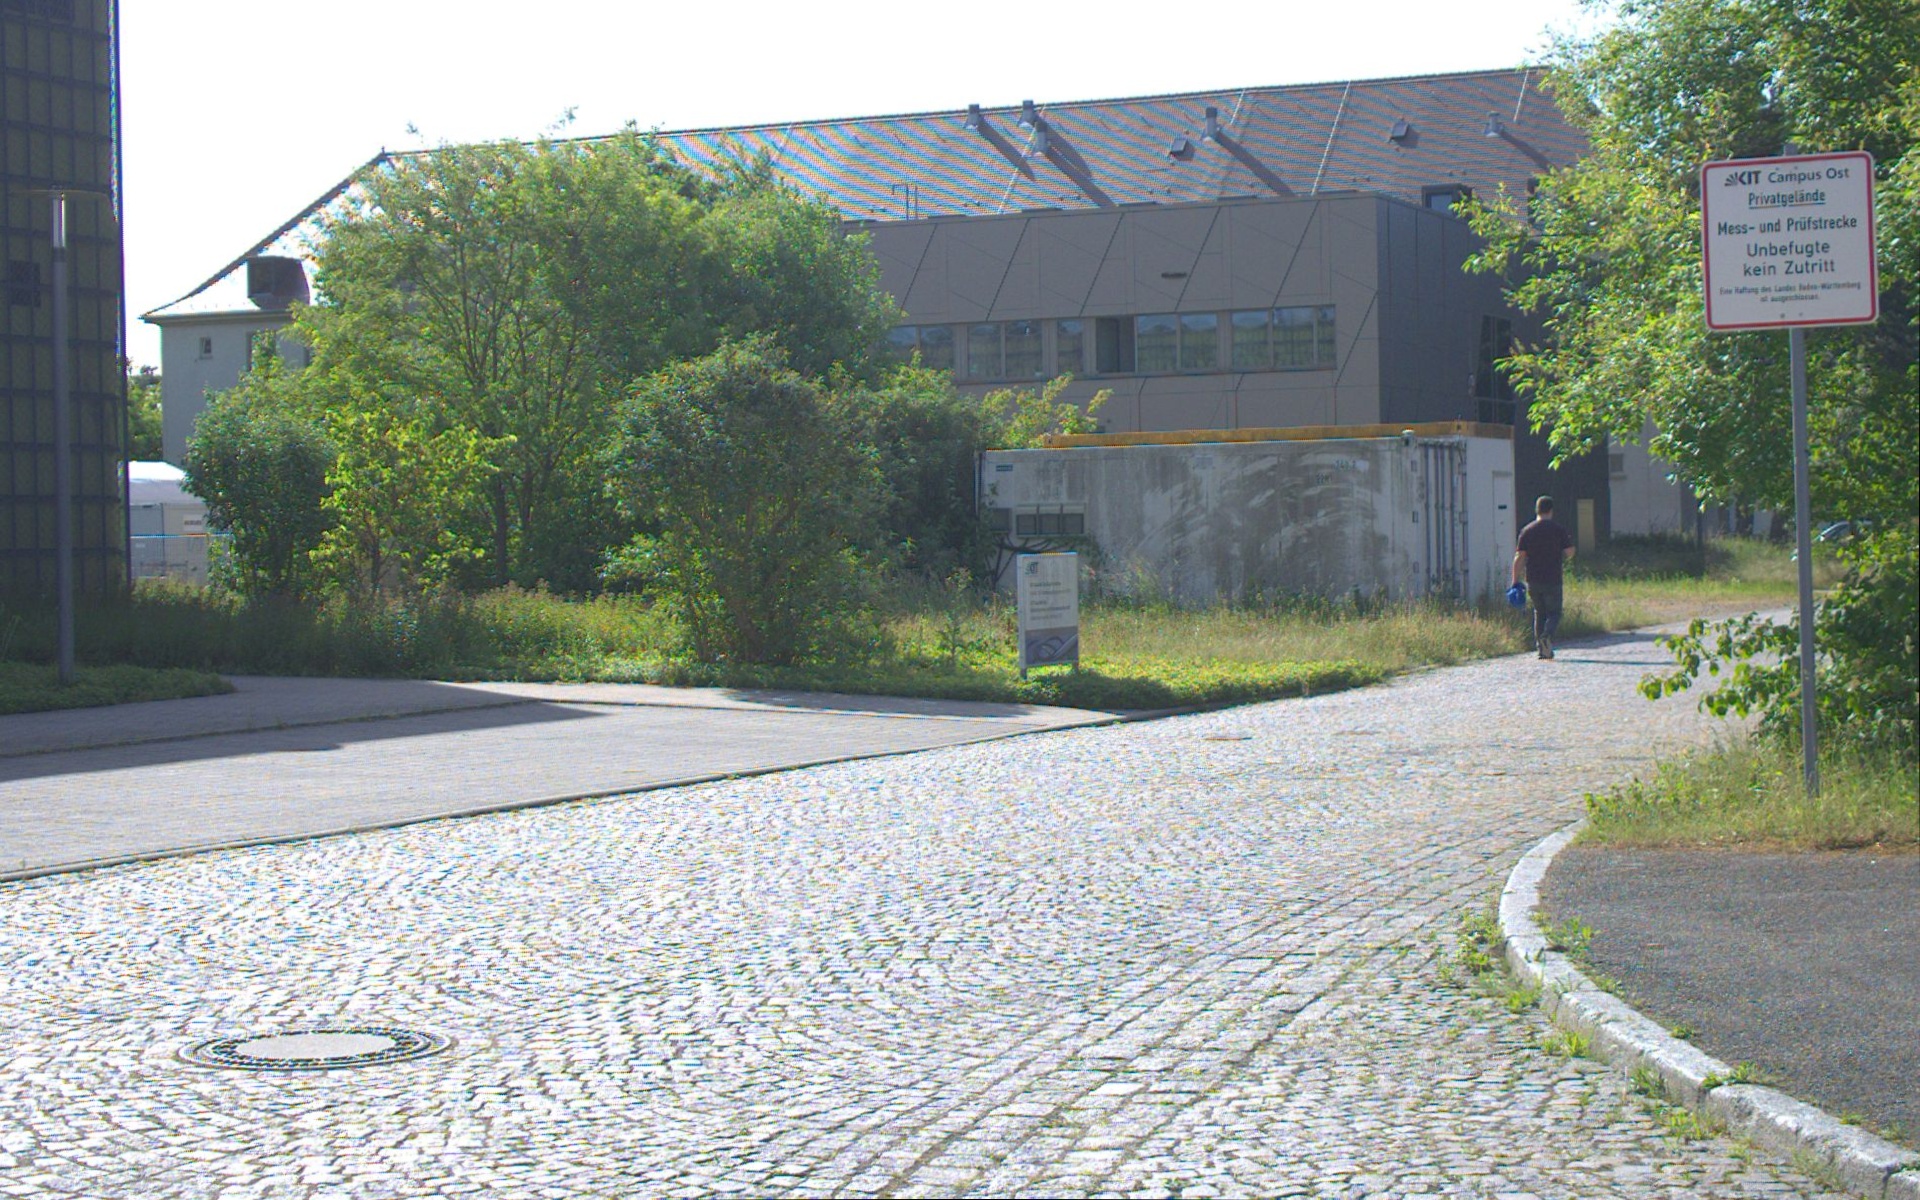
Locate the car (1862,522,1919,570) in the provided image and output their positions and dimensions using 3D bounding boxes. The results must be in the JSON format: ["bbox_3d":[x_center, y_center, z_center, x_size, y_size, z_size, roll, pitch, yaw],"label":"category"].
[{"bbox_3d":[25.561,-1.450,91.604,2.904,1.255,1.287,-1,1,15],"label":"car"}]

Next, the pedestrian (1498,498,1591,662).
[{"bbox_3d":[6.457,-0.236,37.972,0.796,1.774,1.067,1,1,22],"label":"pedestrian"}]
